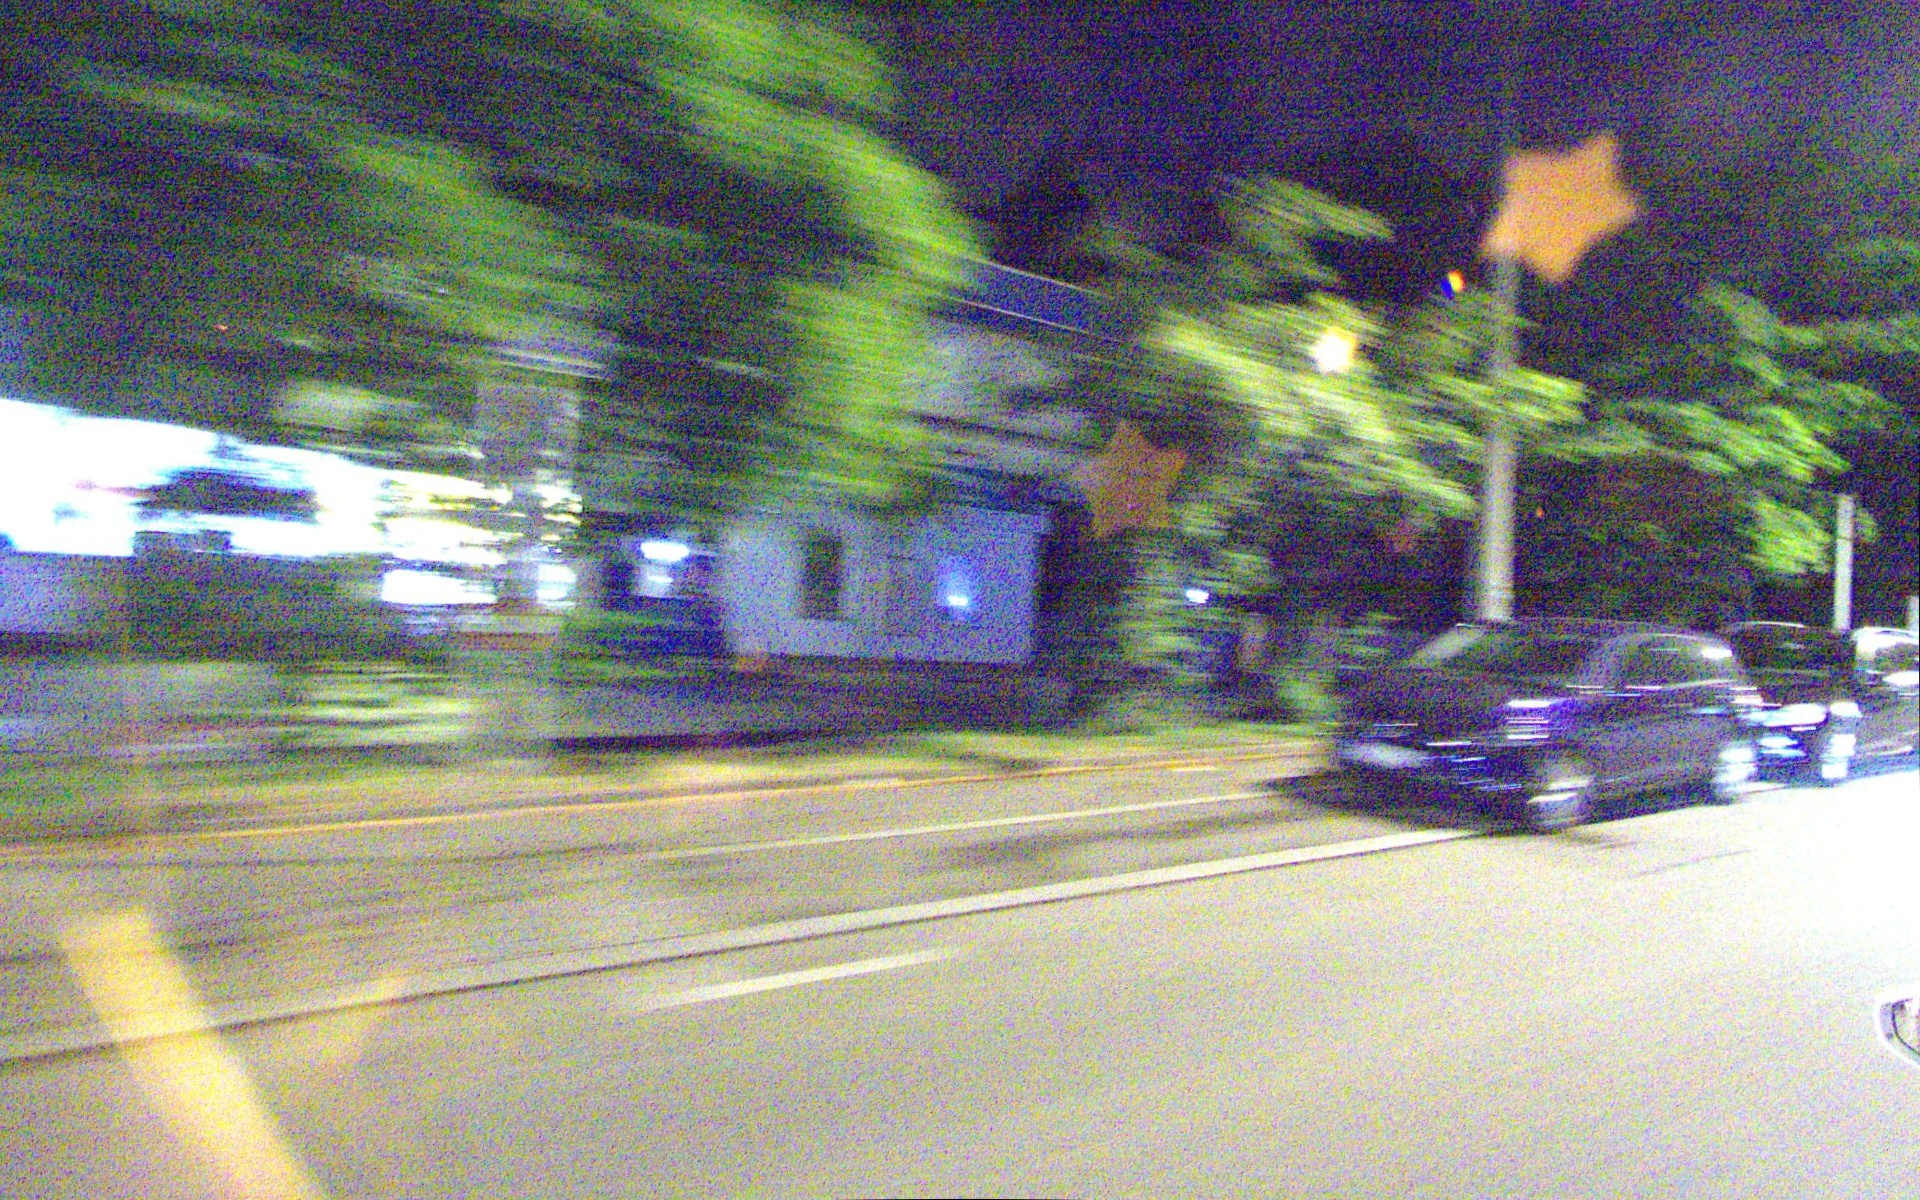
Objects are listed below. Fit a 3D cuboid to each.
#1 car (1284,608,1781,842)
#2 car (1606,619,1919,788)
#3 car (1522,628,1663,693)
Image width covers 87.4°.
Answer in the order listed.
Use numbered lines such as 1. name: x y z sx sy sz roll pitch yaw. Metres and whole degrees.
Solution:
1. car: 4.779 0.855 8.246 4.142 1.457 1.712 2 0 -31
2. car: 9.180 0.967 10.941 4.755 1.457 1.712 1 0 -31
3. car: 16.645 1.550 26.603 1.758 1.472 3.268 2 -1 3
